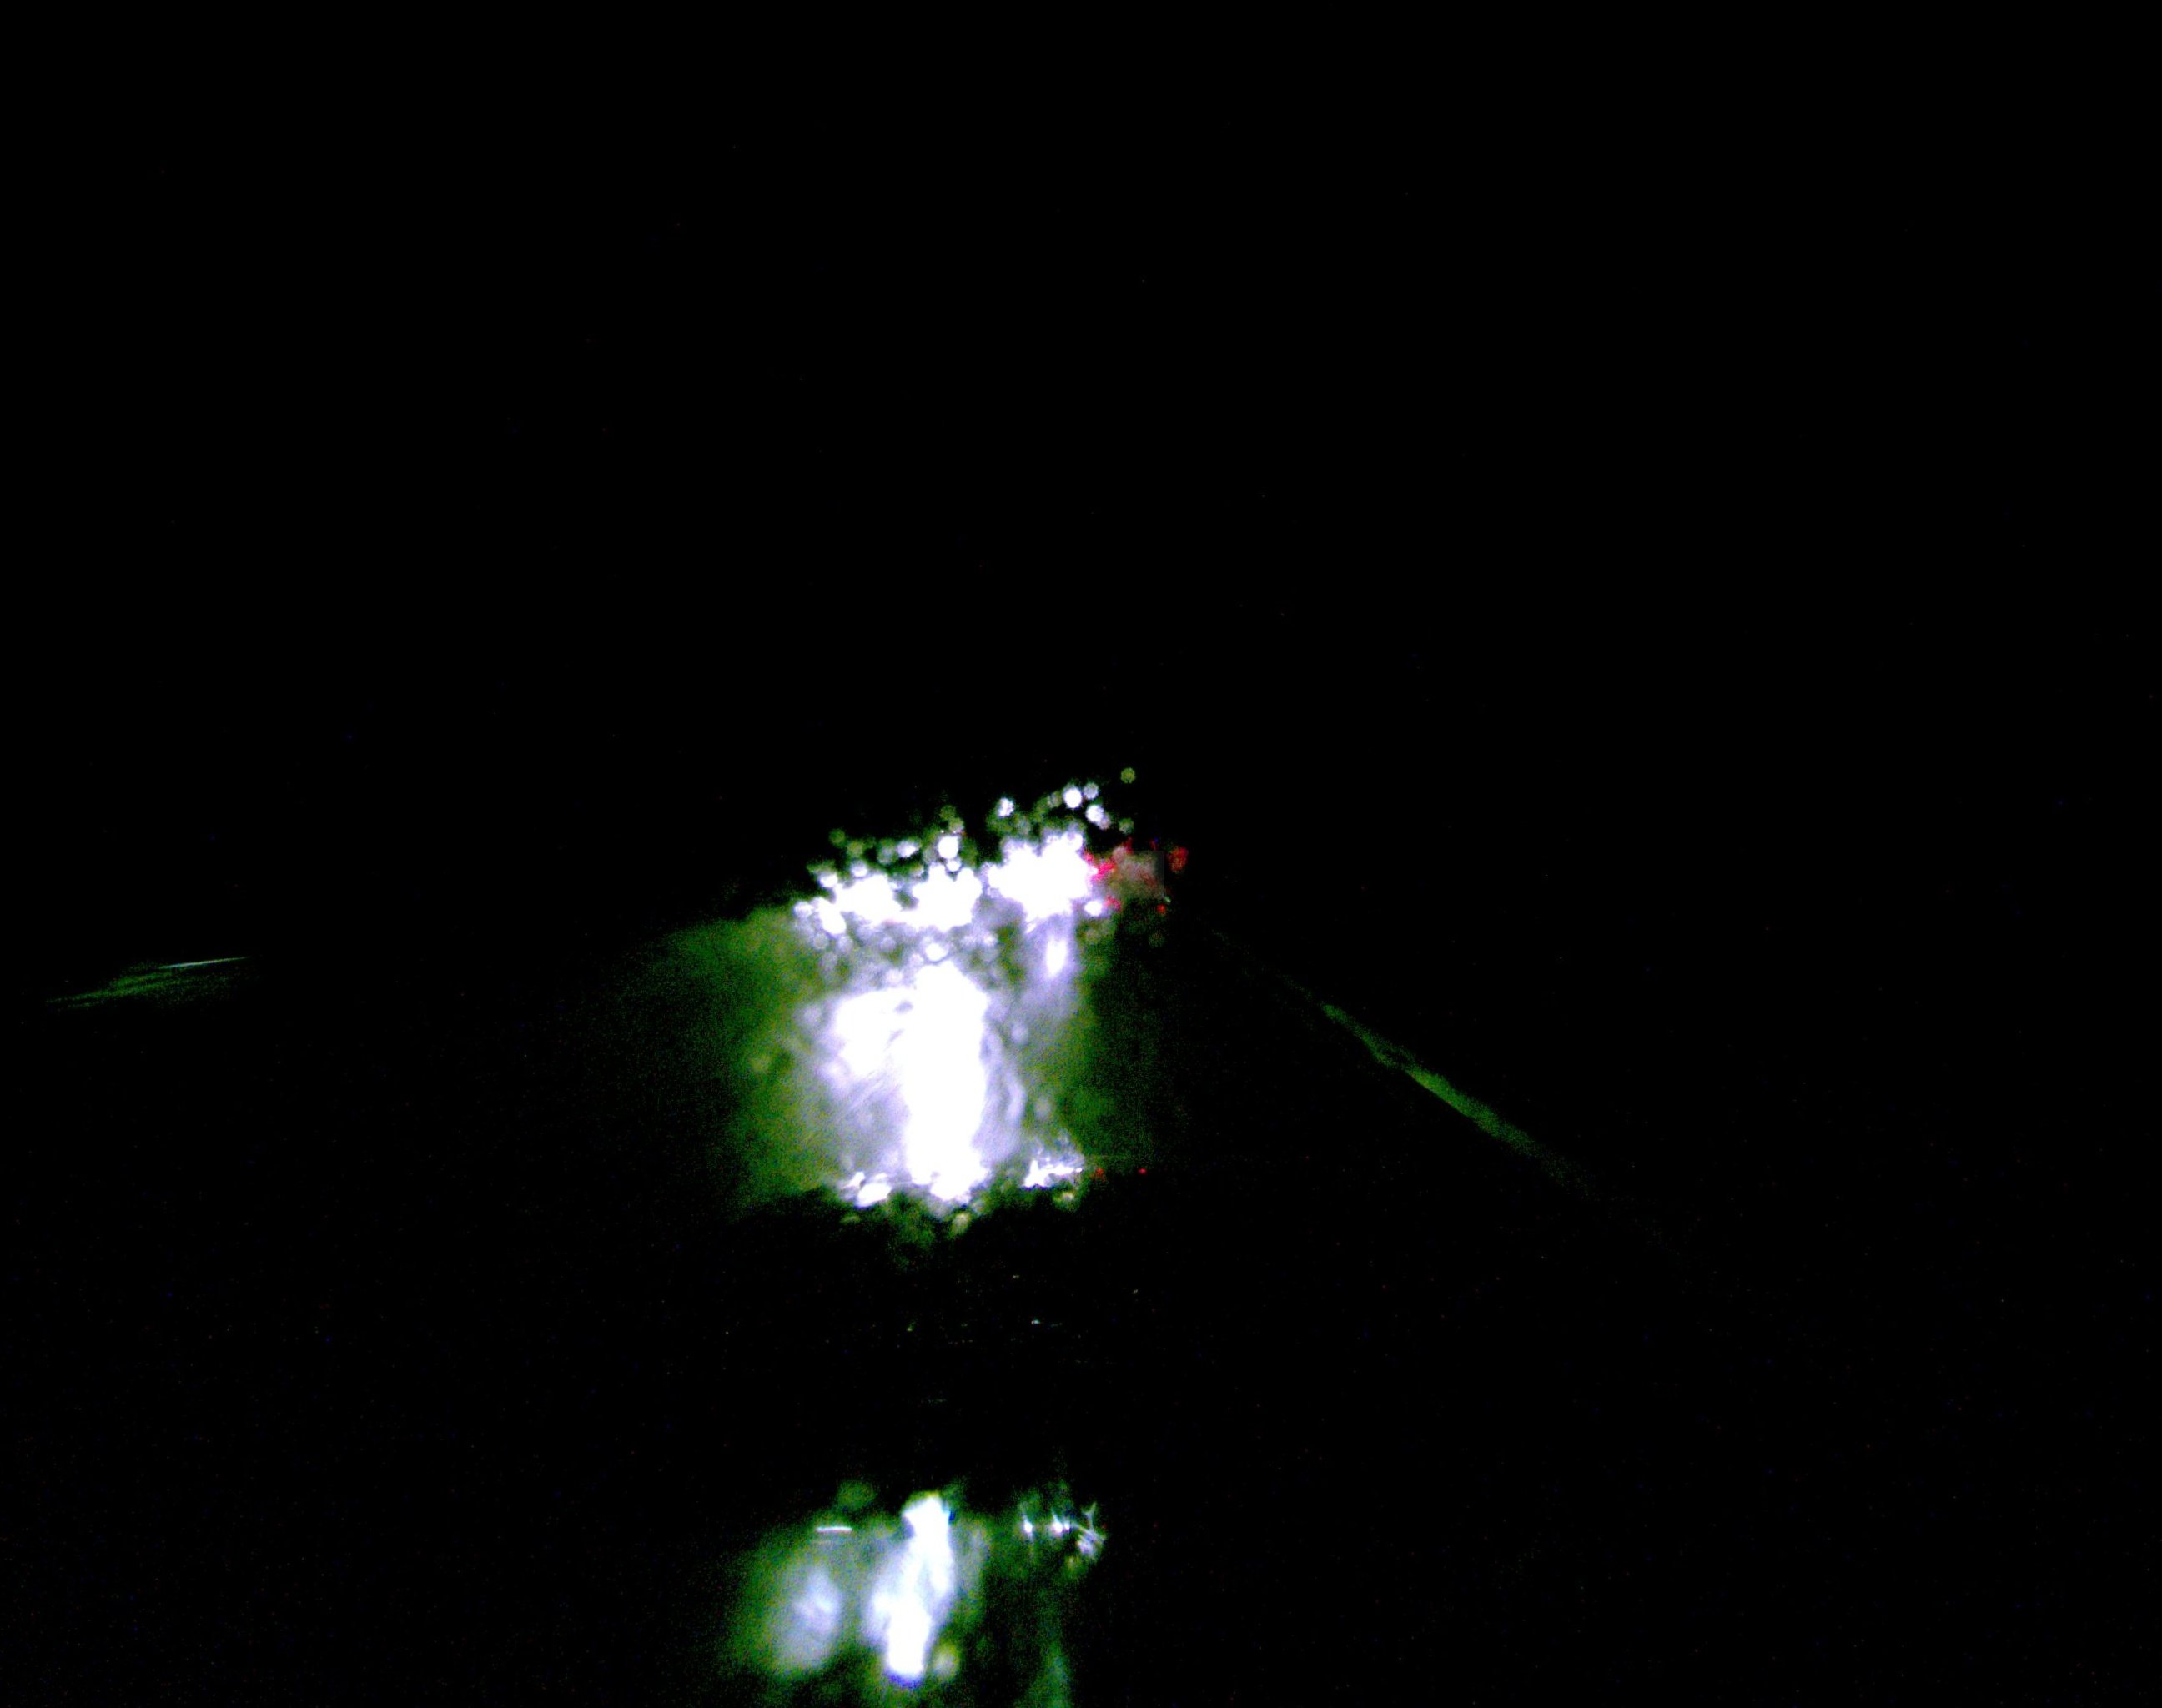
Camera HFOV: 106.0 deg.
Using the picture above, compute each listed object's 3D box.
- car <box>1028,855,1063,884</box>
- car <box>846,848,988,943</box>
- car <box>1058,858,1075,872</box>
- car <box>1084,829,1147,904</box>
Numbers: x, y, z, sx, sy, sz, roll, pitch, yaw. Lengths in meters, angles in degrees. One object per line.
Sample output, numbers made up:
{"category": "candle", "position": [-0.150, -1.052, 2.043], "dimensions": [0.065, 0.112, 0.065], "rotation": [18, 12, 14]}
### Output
{"category": "car", "position": [-2.166, 0.951, 51.406], "dimensions": [1.853, 1.637, 4.145], "rotation": [-2, 0, 2]}
{"category": "car", "position": [-2.884, 0.673, 15.090], "dimensions": [1.779, 1.510, 3.601], "rotation": [-1, 0, 1]}
{"category": "car", "position": [-1.620, 1.277, 94.326], "dimensions": [1.766, 1.510, 3.691], "rotation": [-1, 0, 1]}
{"category": "car", "position": [1.258, 0.368, 30.233], "dimensions": [2.173, 2.557, 4.510], "rotation": [0, 2, 1]}
